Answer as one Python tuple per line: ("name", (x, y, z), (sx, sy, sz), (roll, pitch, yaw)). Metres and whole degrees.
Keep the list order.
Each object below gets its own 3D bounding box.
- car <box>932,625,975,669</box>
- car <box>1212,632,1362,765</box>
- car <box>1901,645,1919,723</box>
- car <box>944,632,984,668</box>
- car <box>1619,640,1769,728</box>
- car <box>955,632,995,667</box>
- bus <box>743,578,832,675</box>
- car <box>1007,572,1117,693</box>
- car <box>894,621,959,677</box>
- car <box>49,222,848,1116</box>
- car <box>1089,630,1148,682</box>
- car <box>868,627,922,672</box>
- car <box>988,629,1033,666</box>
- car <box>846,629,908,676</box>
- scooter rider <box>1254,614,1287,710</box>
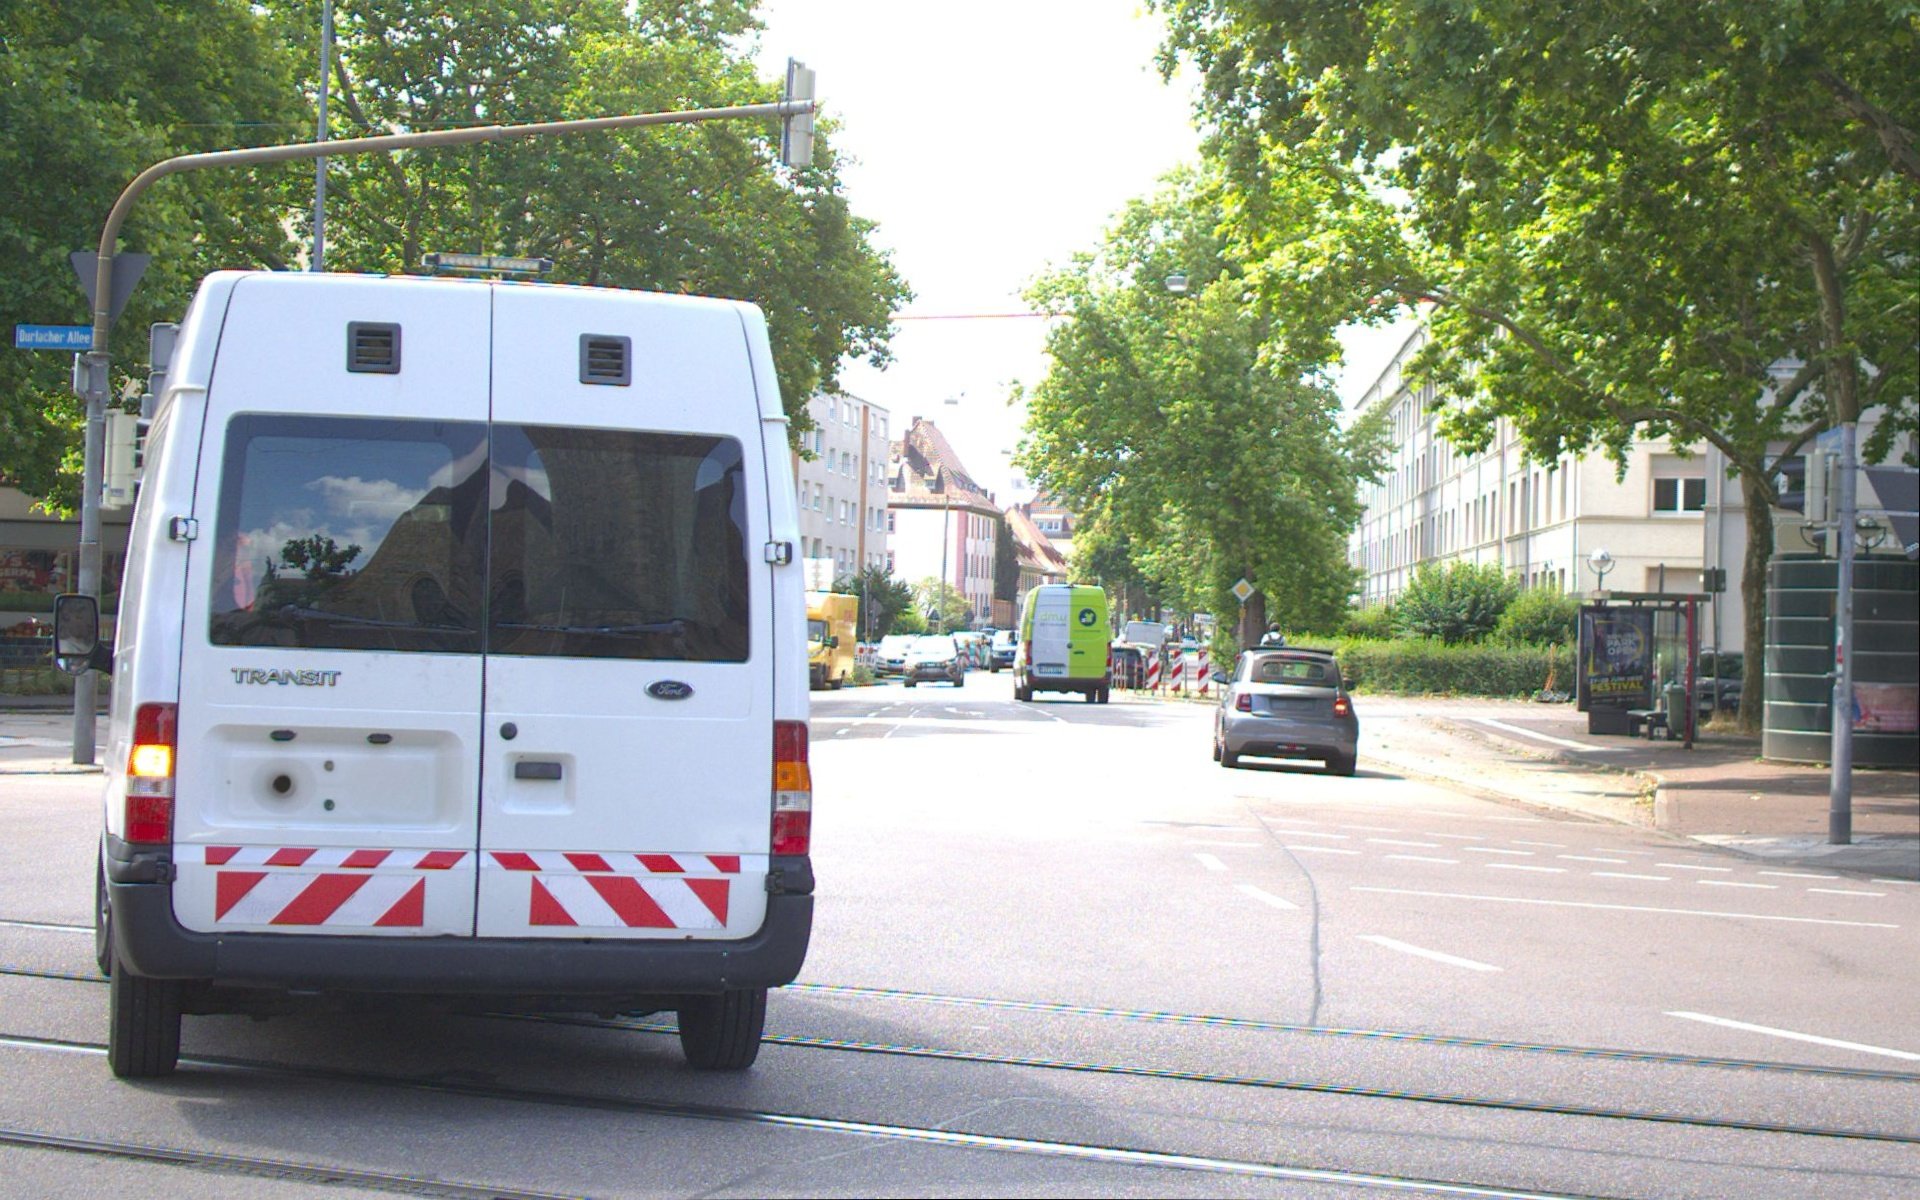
("car", (-0.282, 2.159, 157.999), (1.652, 1.925, 3.748), (2, 0, 4))
("car", (4.137, 1.222, 43.870), (1.692, 1.532, 3.468), (1, 0, 2))
("car", (21.511, 1.850, 75.258), (1.467, 1.660, 3.064), (2, -1, 20))
("car", (0.207, 2.394, 166.283), (1.660, 1.655, 3.748), (2, 0, 4))
("car", (14.262, 1.620, 66.608), (2.030, 1.595, 4.533), (1, -1, 23))
("car", (0.769, 2.477, 173.052), (1.701, 1.655, 3.748), (2, 0, 4))
("bus", (-5.059, 0.786, 101.625), (2.394, 2.700, 6.370), (1, -1, -1))
("car", (2.312, 0.717, 79.692), (2.119, 2.632, 6.328), (2, 0, -1))
("car", (-1.024, 1.526, 107.679), (1.786, 1.655, 4.315), (2, 0, 2))
("car", (-1.840, 0.197, 11.462), (2.046, 2.325, 4.715), (2, 0, -12))
("car", (4.914, 1.730, 106.890), (1.725, 1.549, 3.633), (1, -1, 1))
("car", (-2.477, 1.897, 132.431), (1.729, 1.655, 3.748), (2, 0, 4))
("car", (2.374, 2.229, 161.248), (1.862, 1.655, 3.748), (2, 0, 4))
("car", (-2.851, 1.795, 118.863), (1.846, 1.557, 3.999), (1, -1, 2))
("scooter rider", (5.955, 1.188, 66.018), (0.526, 1.806, 0.649), (2, 0, 0))
